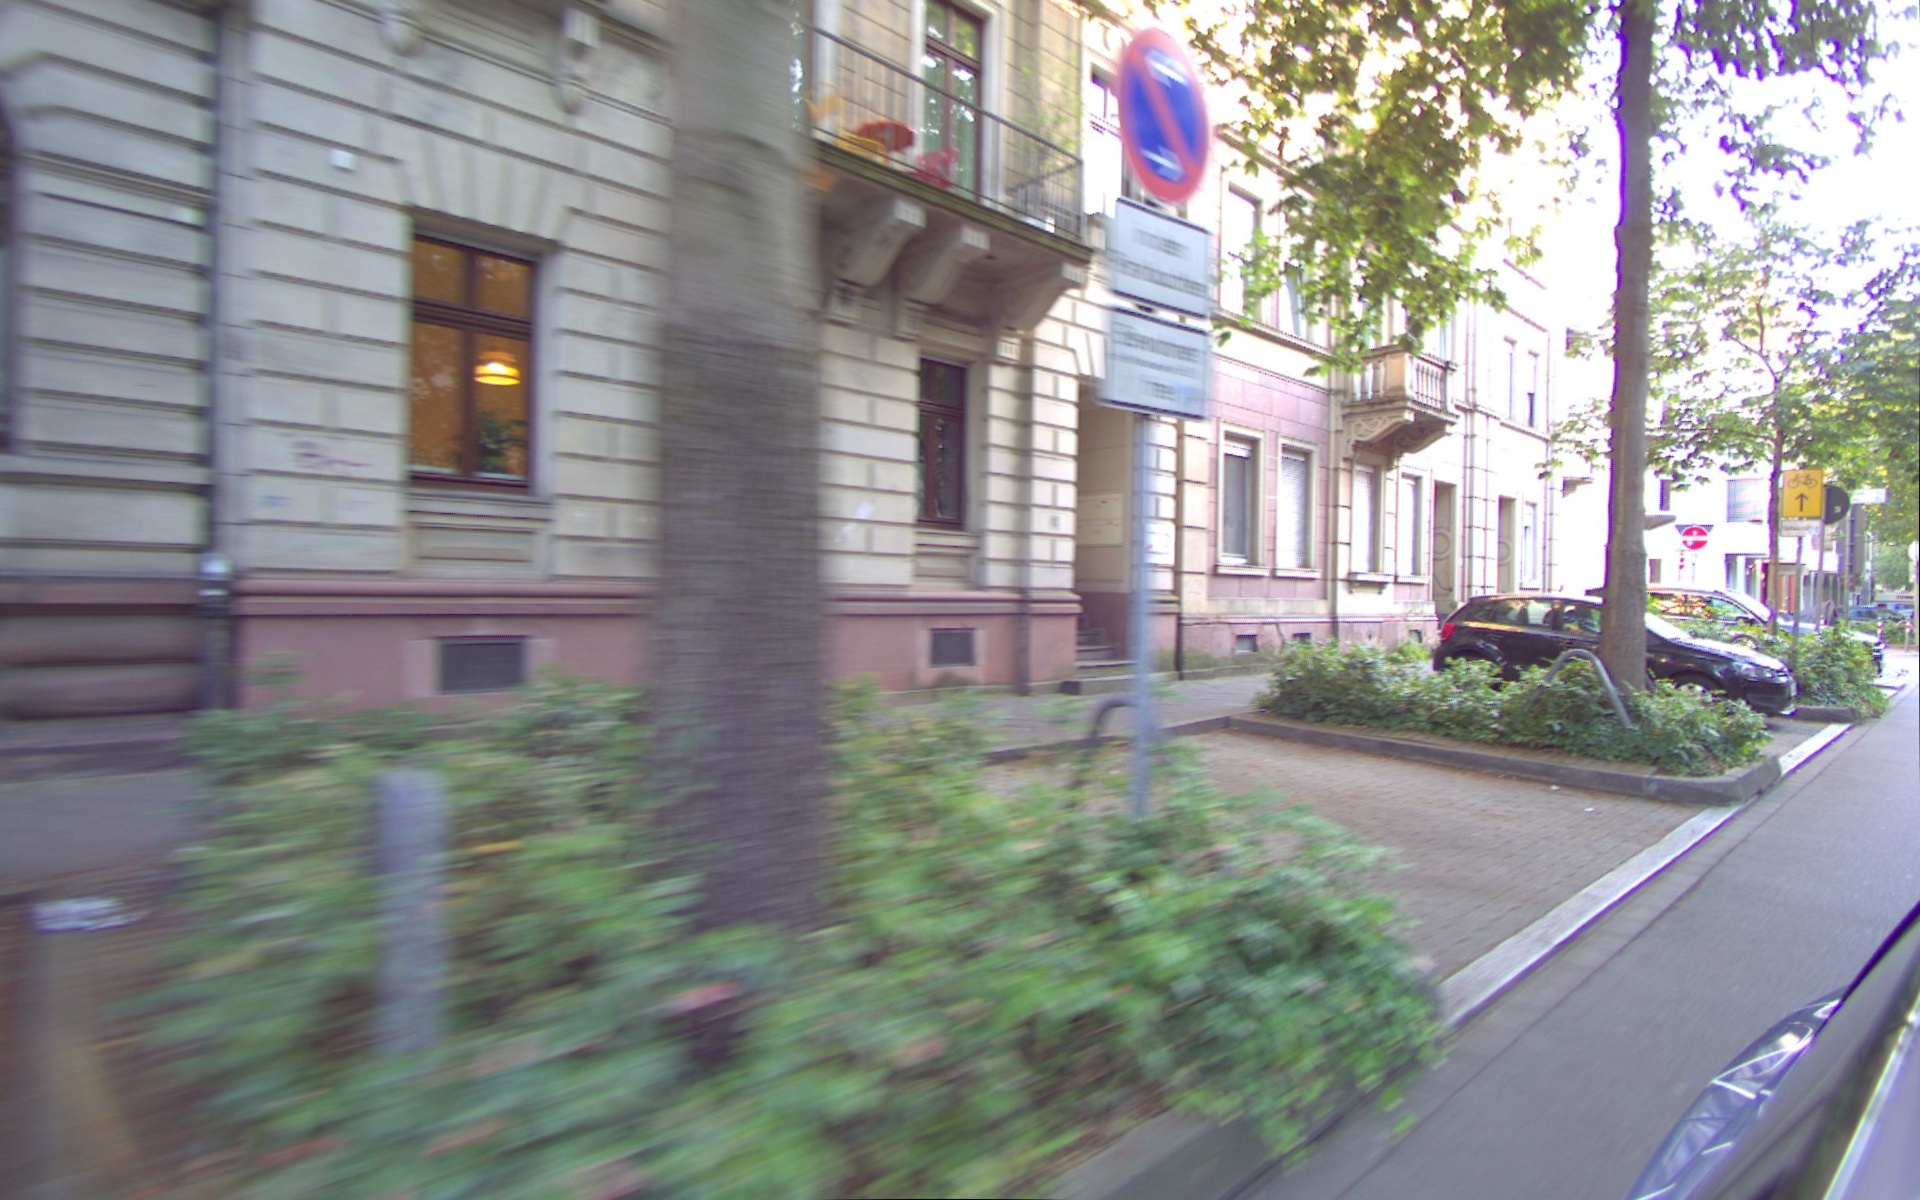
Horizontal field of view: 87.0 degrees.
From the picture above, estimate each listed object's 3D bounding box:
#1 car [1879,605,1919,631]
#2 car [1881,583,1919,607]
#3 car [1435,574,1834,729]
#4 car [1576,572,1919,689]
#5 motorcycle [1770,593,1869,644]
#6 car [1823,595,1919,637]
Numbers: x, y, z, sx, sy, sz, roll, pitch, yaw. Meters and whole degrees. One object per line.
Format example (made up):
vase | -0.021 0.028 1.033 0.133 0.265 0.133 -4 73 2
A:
car | 53.256 0.978 55.885 1.563 1.438 3.546 1 -2 -42
car | 58.794 -0.316 61.884 1.563 1.438 3.546 1 -2 -42
car | 8.389 0.527 12.832 1.752 1.445 3.871 1 3 -44
car | 13.704 0.436 17.856 1.831 1.580 4.429 2 3 -36
motorcycle | 26.706 0.562 31.494 2.229 1.565 0.765 0 0 32
car | 38.362 0.679 41.628 1.563 1.697 4.159 1 -2 -42
